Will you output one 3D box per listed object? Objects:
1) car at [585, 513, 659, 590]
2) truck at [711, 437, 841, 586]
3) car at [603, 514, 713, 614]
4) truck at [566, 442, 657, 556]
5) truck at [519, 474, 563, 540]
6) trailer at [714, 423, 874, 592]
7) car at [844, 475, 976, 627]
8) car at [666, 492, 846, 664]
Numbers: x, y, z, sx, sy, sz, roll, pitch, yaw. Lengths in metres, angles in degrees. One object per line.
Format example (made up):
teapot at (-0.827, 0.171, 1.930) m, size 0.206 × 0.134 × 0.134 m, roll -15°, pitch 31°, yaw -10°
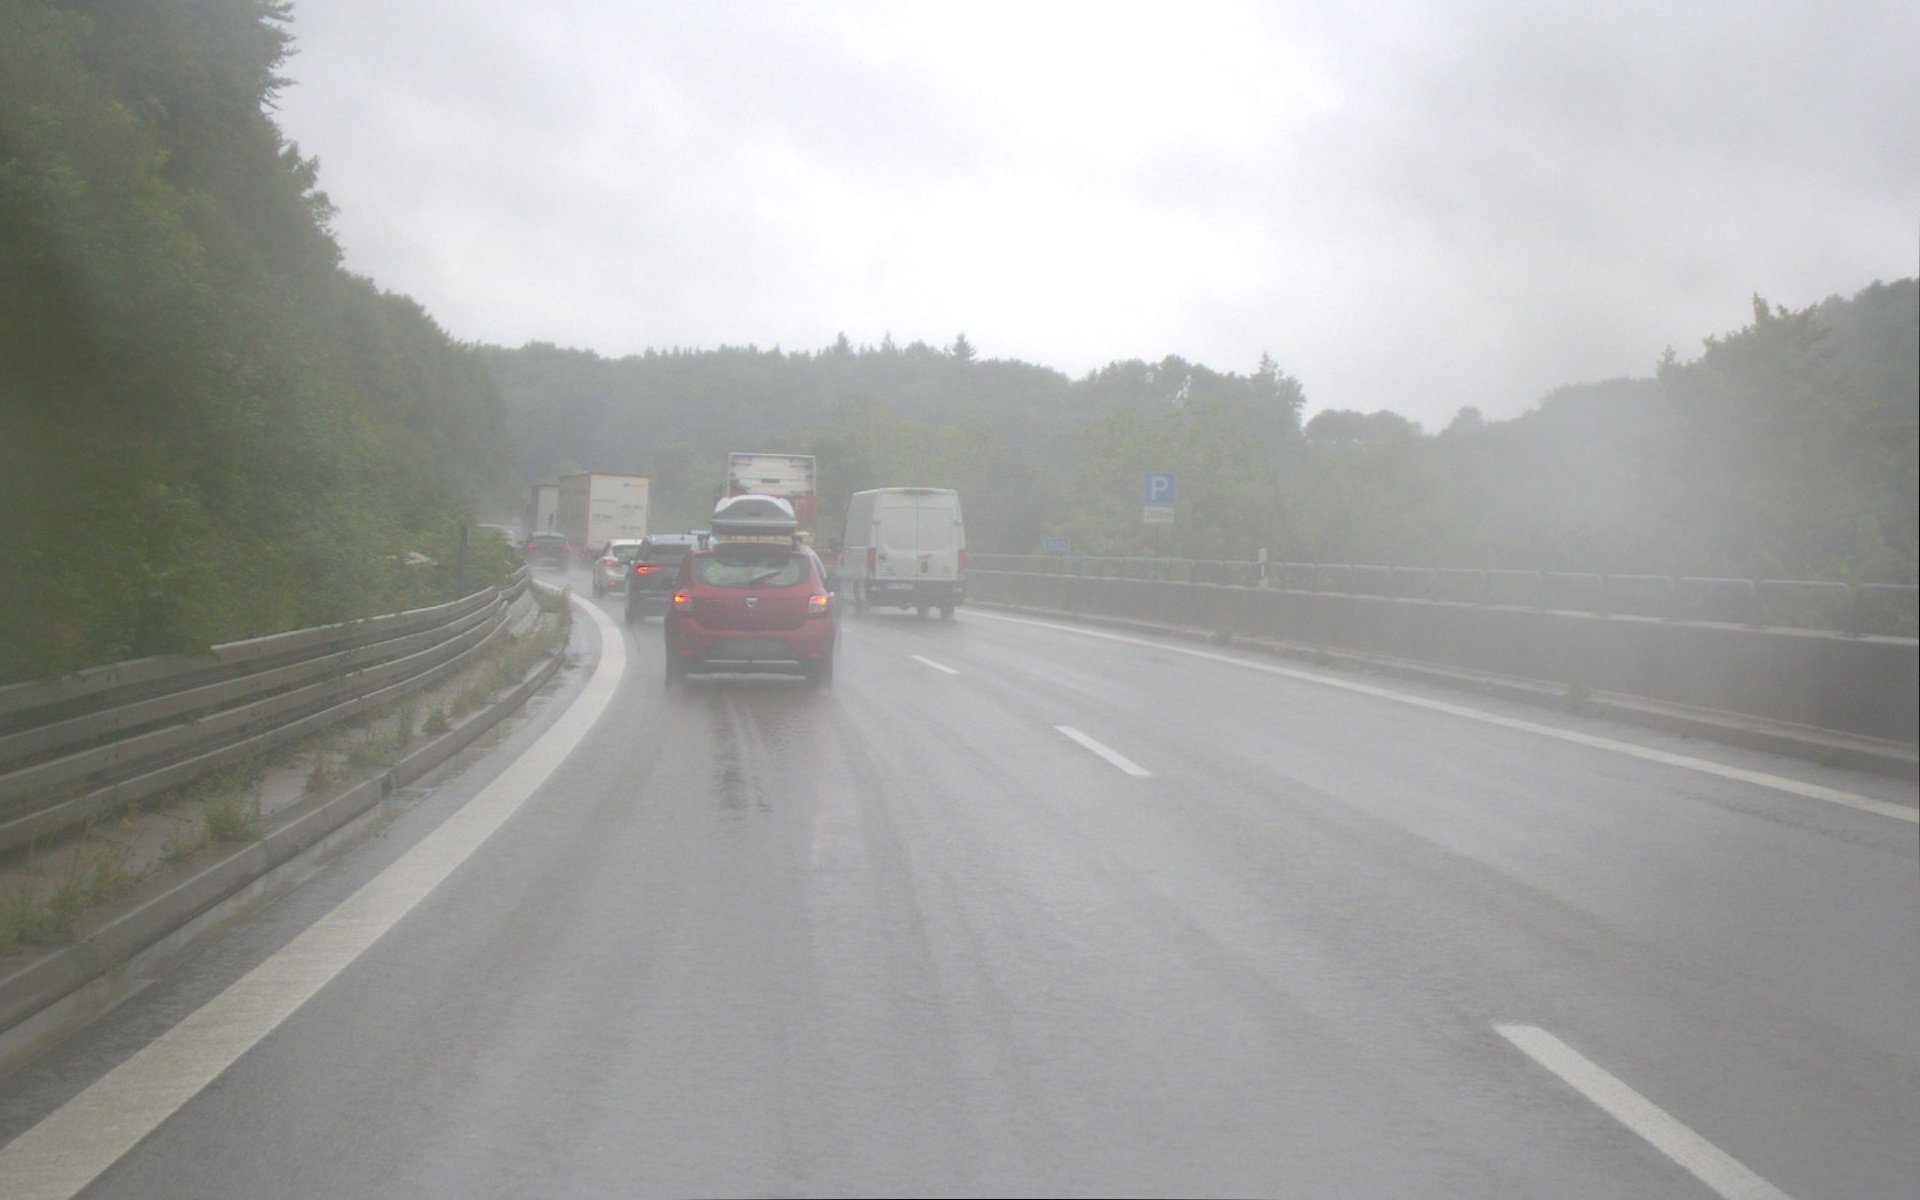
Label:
car at (-8.302, -1.195, 84.248) m, size 1.715 × 1.811 × 3.893 m, roll 1°, pitch 1°, yaw -6°
truck at (-5.313, -2.490, 98.224) m, size 3.219 × 3.964 × 5.440 m, roll 3°, pitch 1°, yaw -6°
car at (-5.315, -0.642, 60.922) m, size 1.823 × 1.690 × 4.001 m, roll 1°, pitch 1°, yaw -4°
truck at (-14.924, -4.254, 146.736) m, size 3.222 × 4.666 × 8.302 m, roll 1°, pitch 1°, yaw -10°
truck at (-22.286, -4.915, 182.747) m, size 2.105 × 3.409 × 6.224 m, roll 1°, pitch 1°, yaw -8°
trailer at (-4.569, -2.390, 91.456) m, size 3.218 × 3.985 × 13.527 m, roll 3°, pitch 1°, yaw -6°
car at (-1.084, -0.995, 70.044) m, size 2.206 × 2.784 × 7.383 m, roll 4°, pitch 1°, yaw -3°
car at (-2.149, -0.245, 36.040) m, size 1.758 × 1.679 × 4.001 m, roll 1°, pitch 1°, yaw -4°
